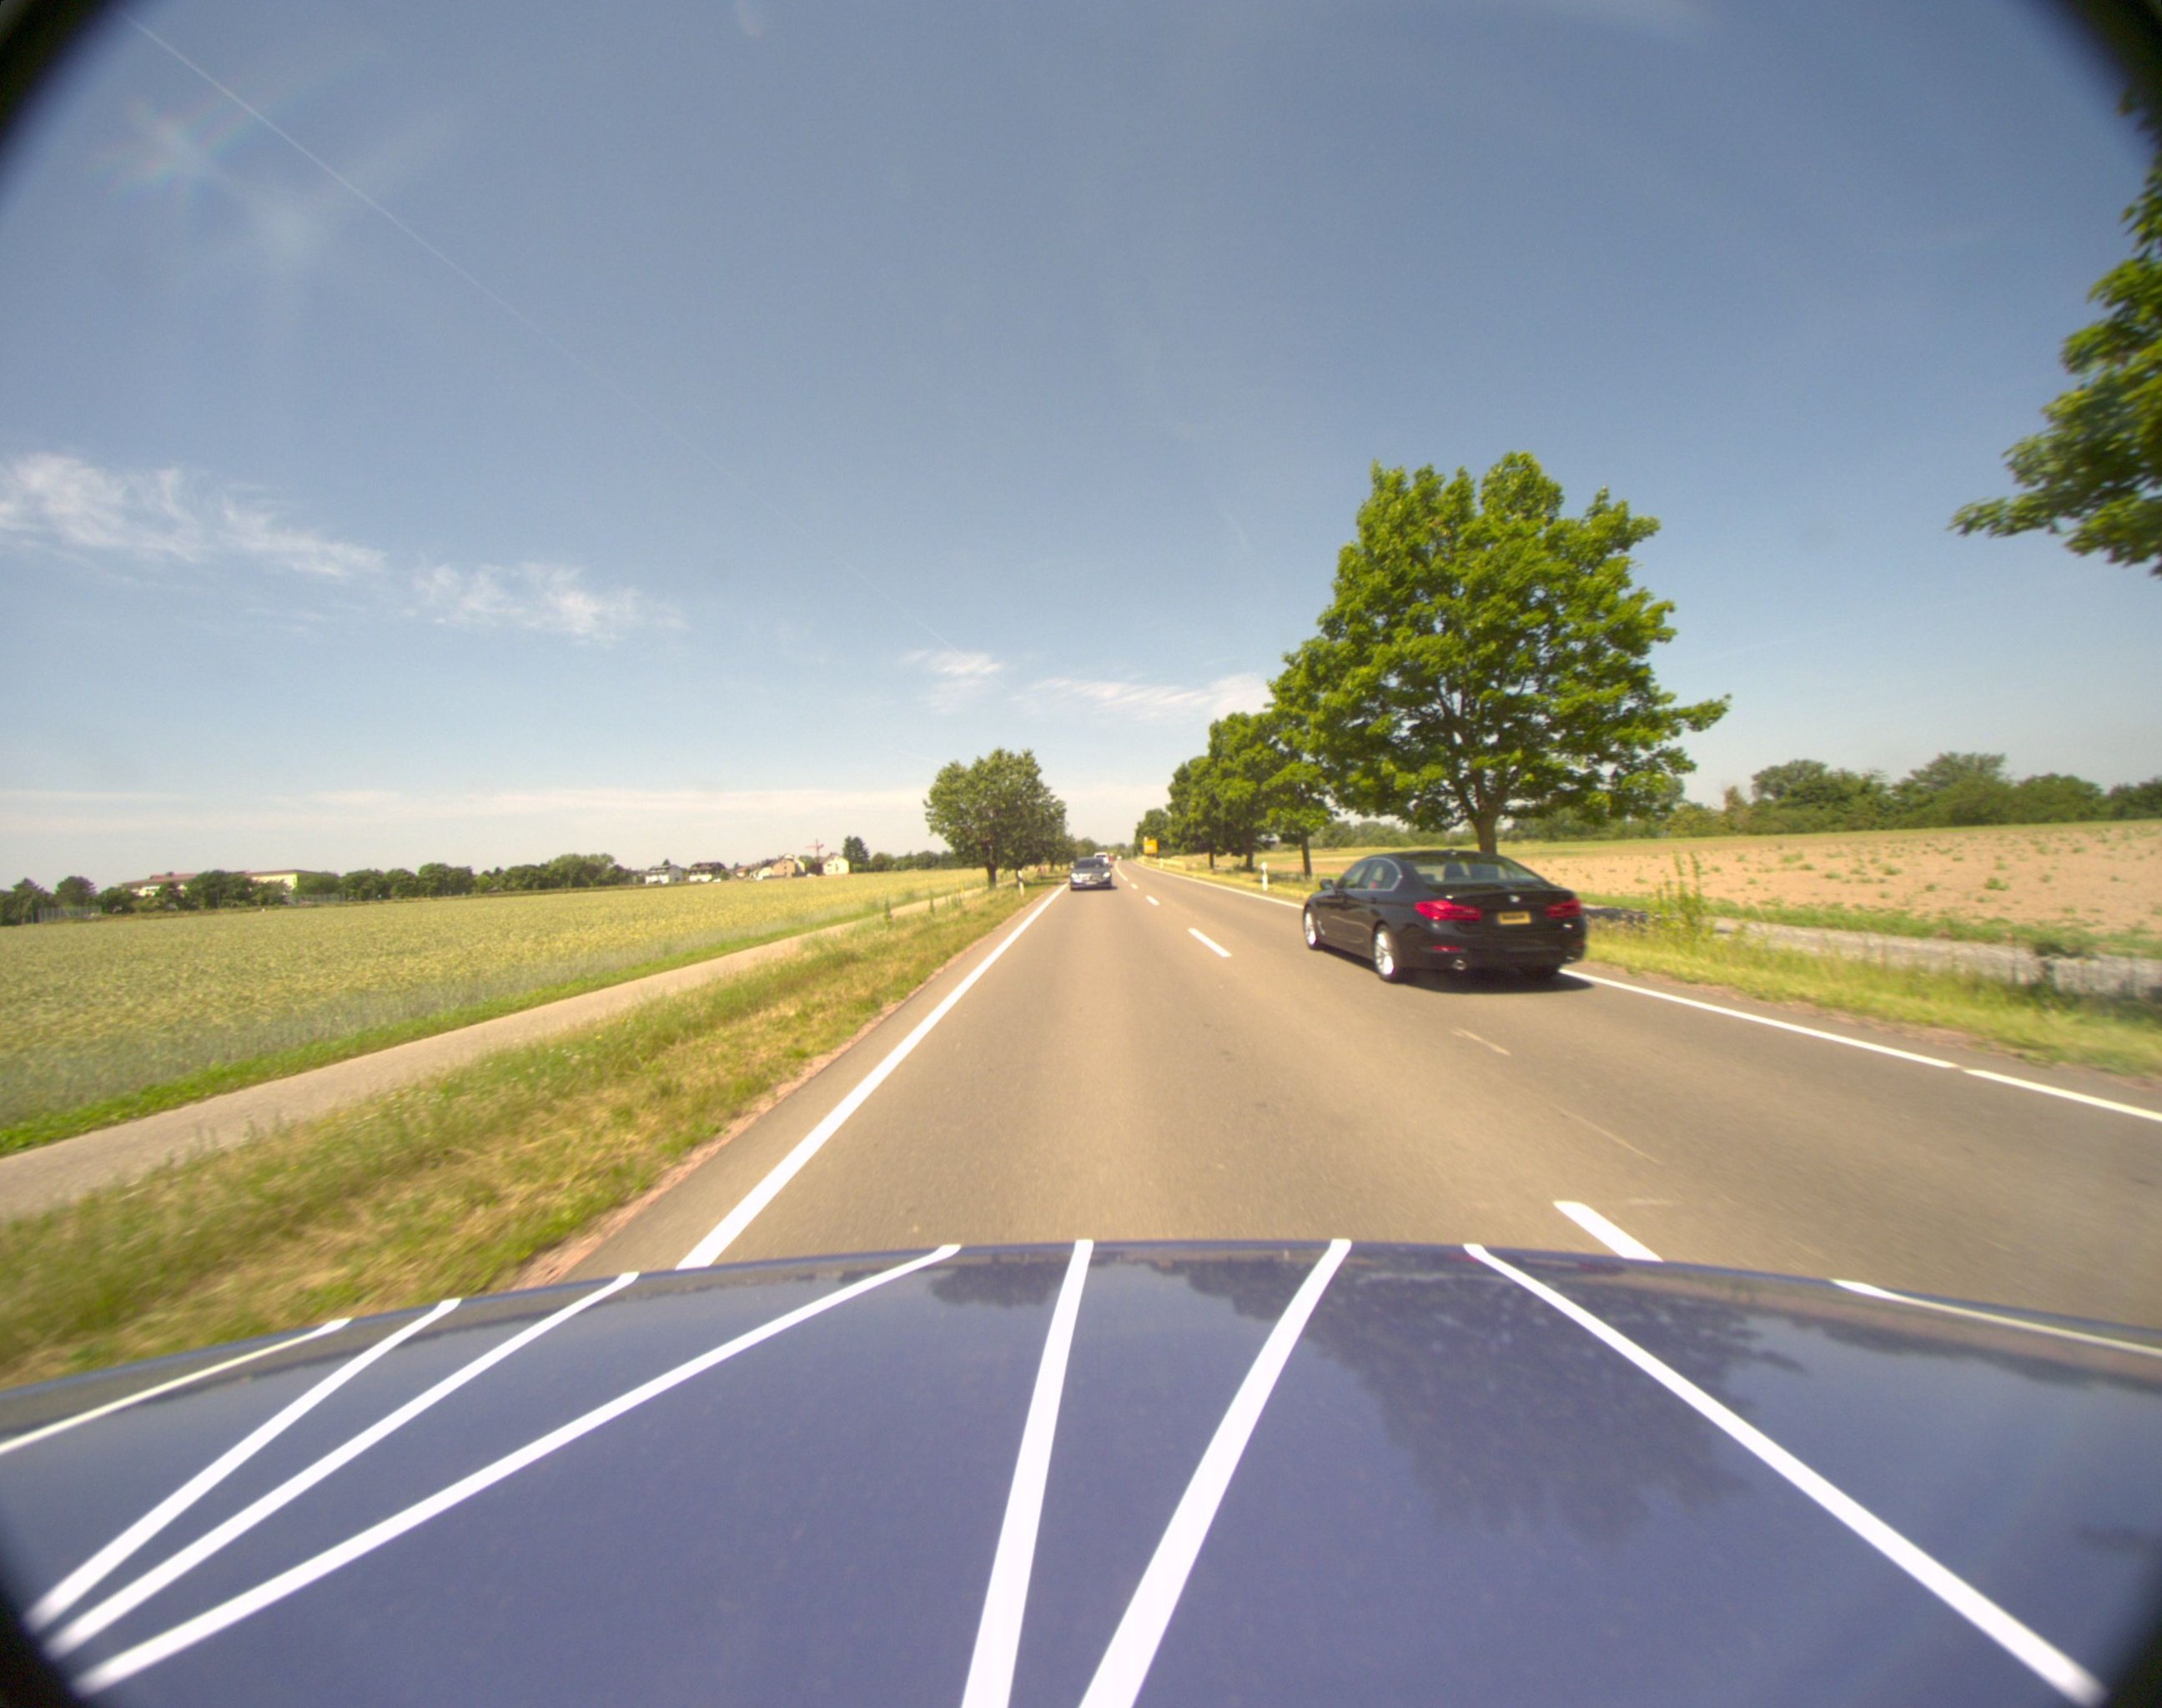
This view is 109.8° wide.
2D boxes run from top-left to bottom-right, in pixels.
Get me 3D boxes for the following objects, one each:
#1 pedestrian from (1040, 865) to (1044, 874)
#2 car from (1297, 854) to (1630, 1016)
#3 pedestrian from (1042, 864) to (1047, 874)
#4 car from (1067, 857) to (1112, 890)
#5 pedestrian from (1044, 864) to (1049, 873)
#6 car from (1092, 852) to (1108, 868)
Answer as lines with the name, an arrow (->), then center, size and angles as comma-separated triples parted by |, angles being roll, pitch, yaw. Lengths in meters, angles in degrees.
pedestrian -> -5.580, 2.187, 108.737 | 0.443, 1.288, 0.486 | -3, 1, -42
car -> 4.220, 0.760, 9.379 | 1.826, 1.412, 4.589 | -2, 1, 1
pedestrian -> -5.247, 2.110, 107.832 | 0.443, 1.306, 0.486 | -3, 1, -45
car -> 0.435, 0.874, 35.228 | 1.953, 1.390, 4.000 | -1, 0, 2
pedestrian -> -4.867, 2.104, 108.239 | 0.486, 1.288, 0.443 | -2, 1, 35
car -> 2.482, 0.744, 100.071 | 1.998, 1.907, 4.206 | -3, 0, 2
